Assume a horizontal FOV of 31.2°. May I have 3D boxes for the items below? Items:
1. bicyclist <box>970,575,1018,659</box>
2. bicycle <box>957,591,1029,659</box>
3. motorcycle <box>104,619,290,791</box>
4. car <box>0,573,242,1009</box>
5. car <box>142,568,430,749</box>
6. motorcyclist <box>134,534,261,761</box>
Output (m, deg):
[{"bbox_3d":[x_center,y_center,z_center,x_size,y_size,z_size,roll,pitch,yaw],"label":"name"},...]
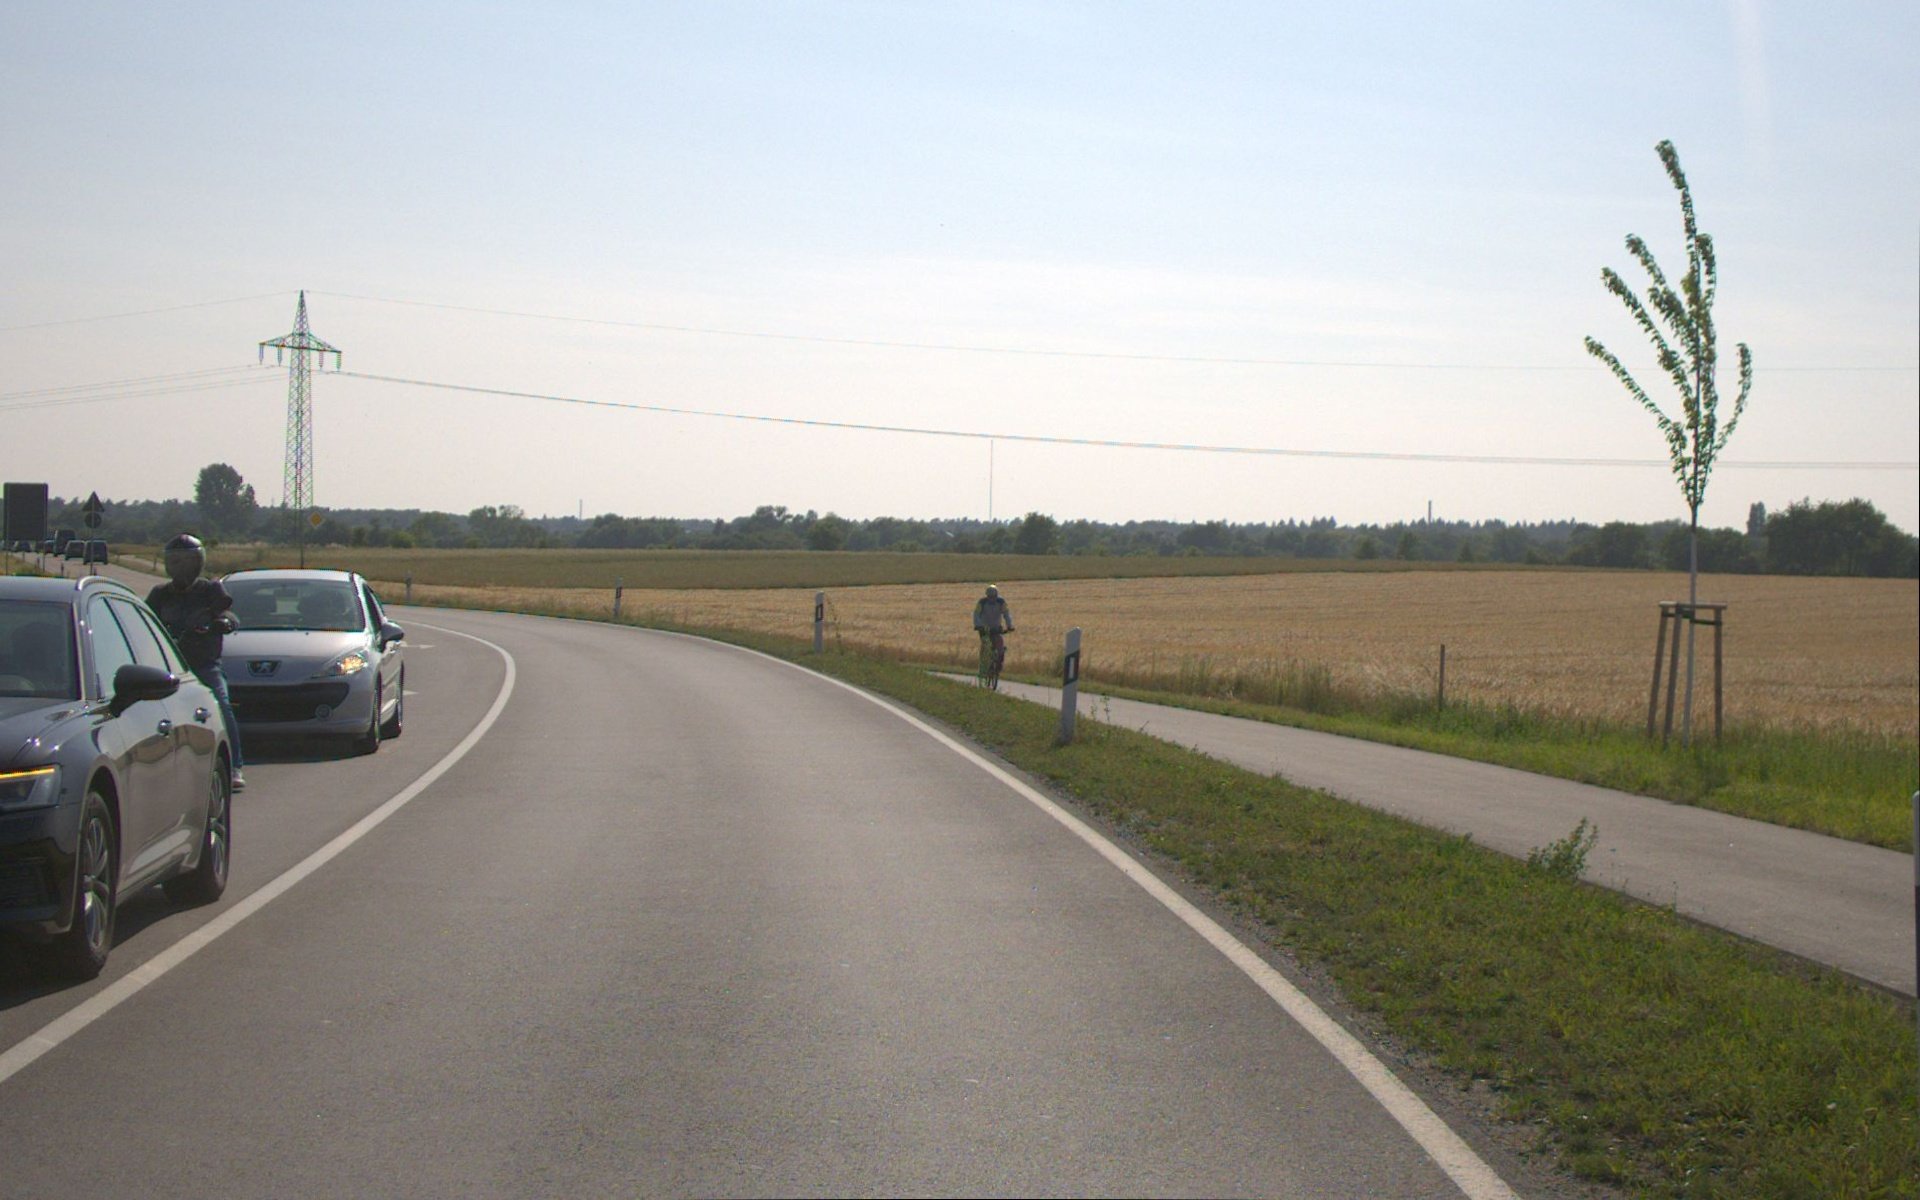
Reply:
[{"bbox_3d":[0.608,0.297,61.137,0.637,1.452,0.817,3,0,-10],"label":"bicyclist"},{"bbox_3d":[0.572,0.431,61.103,0.845,1.138,2.207,3,0,-10],"label":"bicycle"},{"bbox_3d":[-5.116,0.683,23.172,0.871,1.070,1.969,0,1,-2],"label":"motorcycle"},{"bbox_3d":[-4.117,0.611,13.692,1.890,1.431,4.798,0,0,-5],"label":"car"},{"bbox_3d":[-5.544,0.435,28.708,1.686,1.398,4.000,0,1,-1],"label":"car"},{"bbox_3d":[-5.110,0.306,23.078,0.677,1.490,0.847,0,1,-2],"label":"motorcyclist"}]
